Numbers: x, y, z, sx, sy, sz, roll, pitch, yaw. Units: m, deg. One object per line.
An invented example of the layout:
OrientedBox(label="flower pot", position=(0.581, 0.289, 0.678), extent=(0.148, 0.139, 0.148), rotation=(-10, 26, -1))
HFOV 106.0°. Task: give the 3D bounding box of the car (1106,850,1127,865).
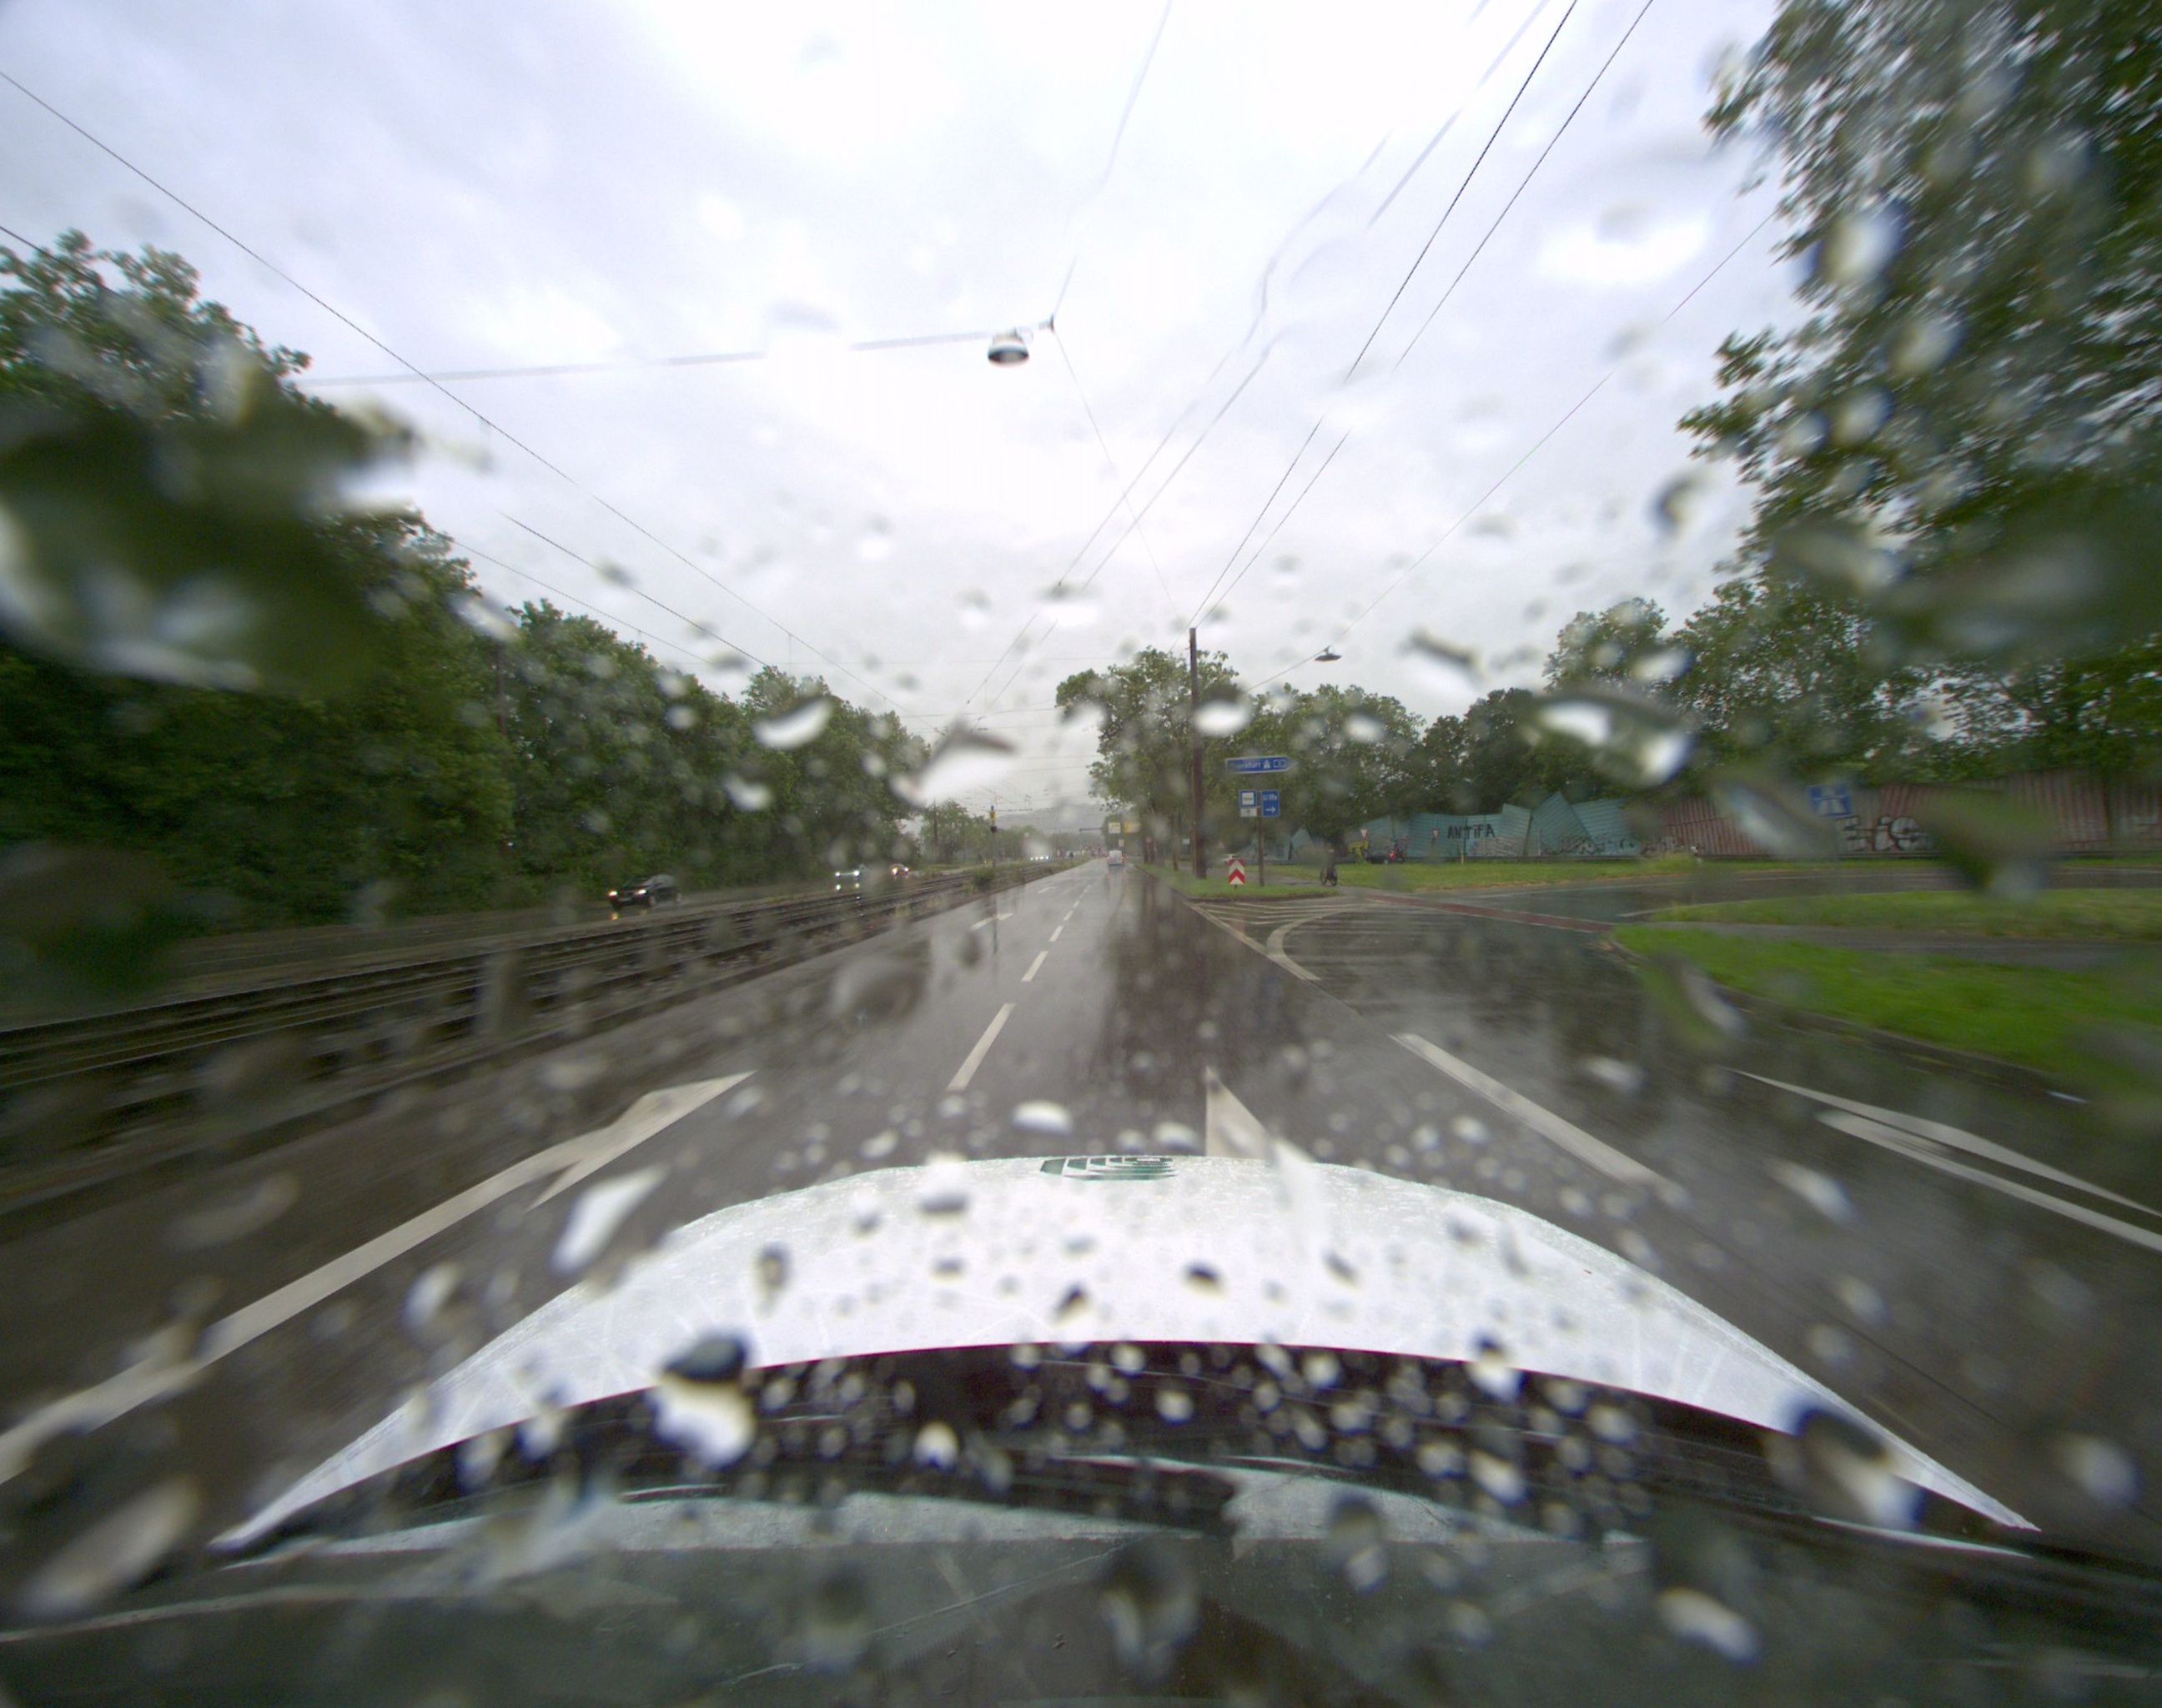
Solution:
OrientedBox(label="car", position=(3.650, 0.338, 85.350), extent=(2.070, 1.420, 4.001), rotation=(-3, 0, 1))

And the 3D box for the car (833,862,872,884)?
OrientedBox(label="car", position=(-18.273, 1.491, 65.388), extent=(1.685, 1.523, 4.955), rotation=(-2, 0, 0))

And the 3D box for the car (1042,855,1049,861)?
OrientedBox(label="car", position=(-10.481, 1.101, 237.592), extent=(1.938, 1.616, 4.985), rotation=(-2, 0, -2))

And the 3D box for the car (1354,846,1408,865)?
OrientedBox(label="car", position=(26.132, 0.153, 71.088), extent=(1.872, 1.536, 4.480), rotation=(-2, 0, -24))

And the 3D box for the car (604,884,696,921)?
OrientedBox(label="car", position=(-19.187, 2.136, 36.489), extent=(1.765, 1.330, 4.380), rotation=(-2, 0, 0))

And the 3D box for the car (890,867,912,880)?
OrientedBox(label="car", position=(-21.300, 2.280, 96.402), extent=(1.676, 1.406, 3.939), rotation=(-2, 0, 0))

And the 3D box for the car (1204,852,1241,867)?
OrientedBox(label="car", position=(16.049, 0.655, 92.669), extent=(1.958, 1.536, 4.429), rotation=(-2, 0, -26))
